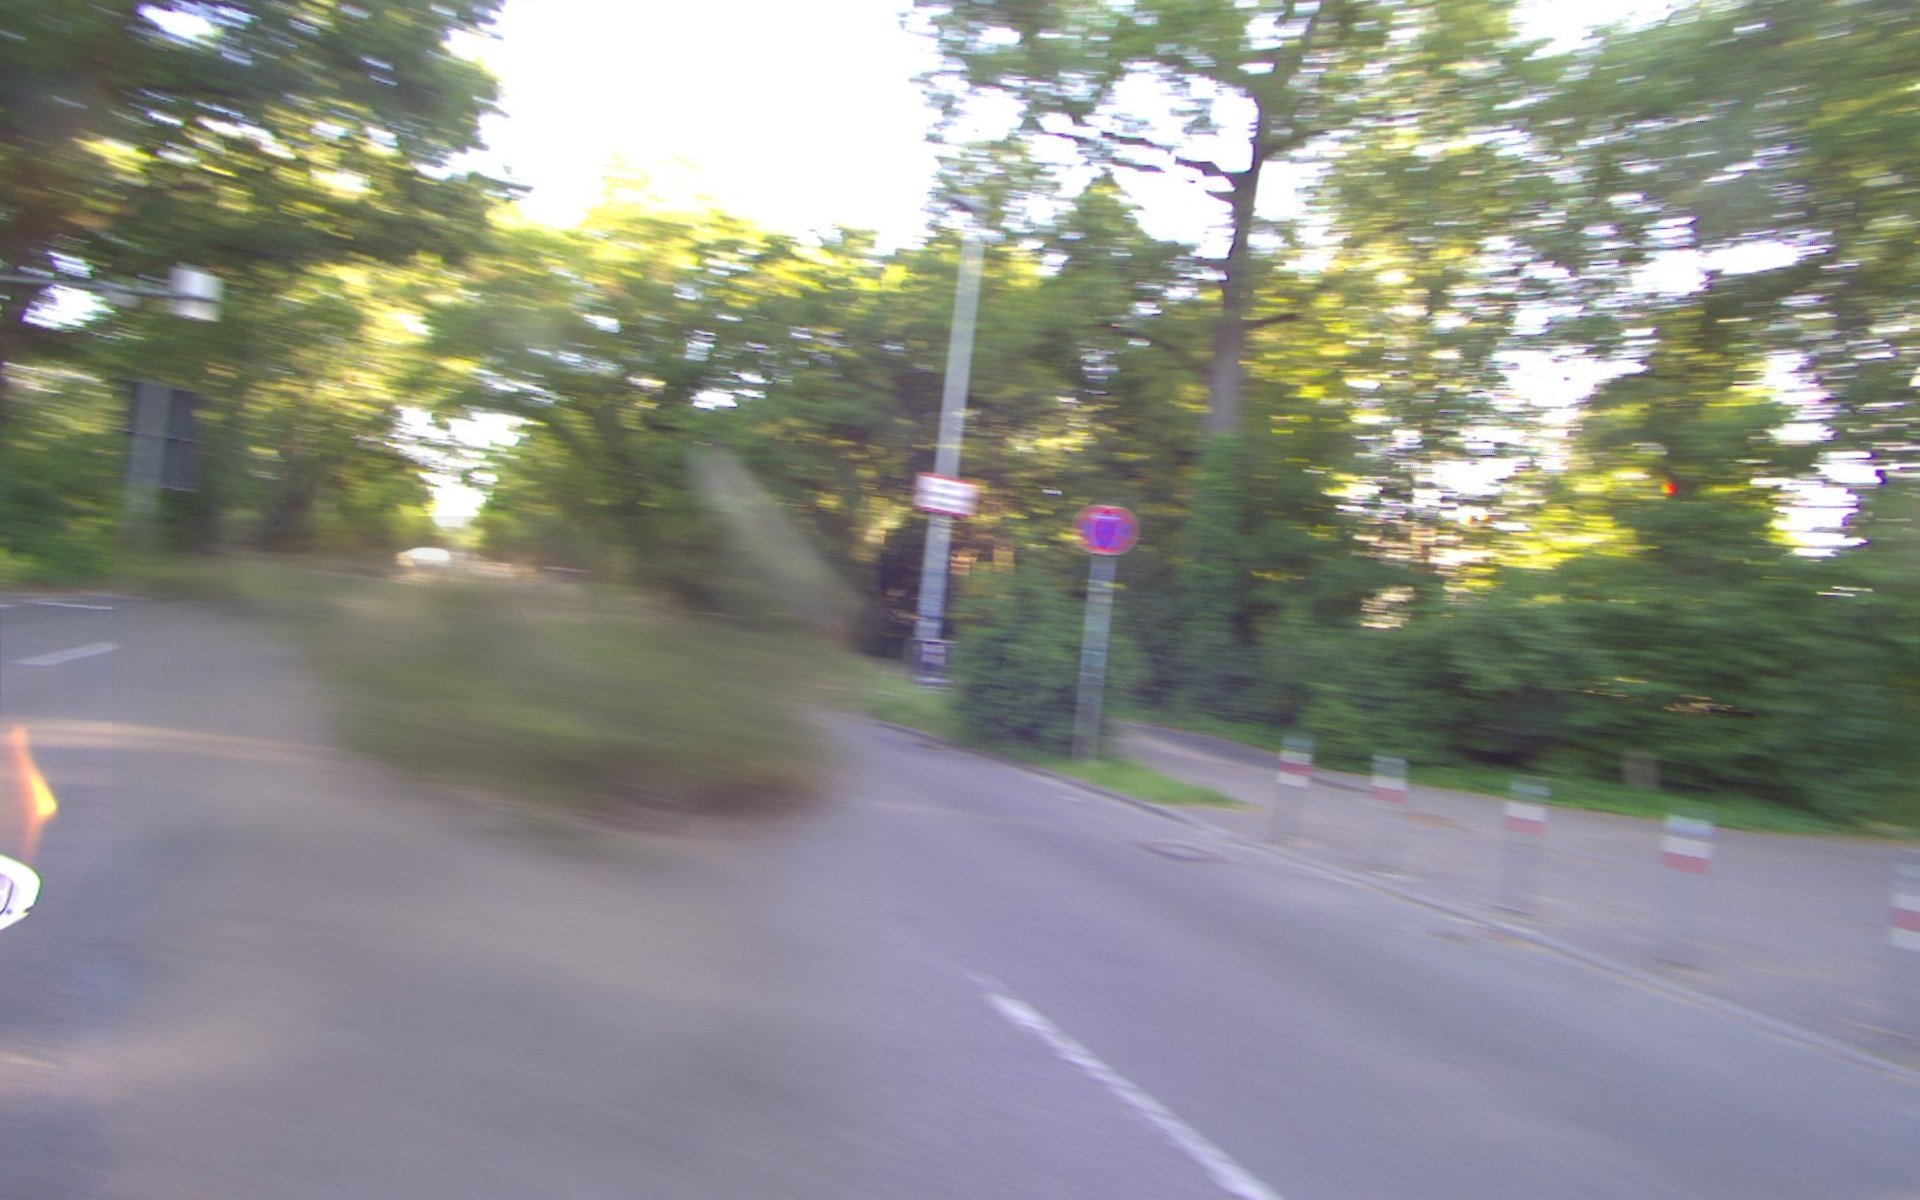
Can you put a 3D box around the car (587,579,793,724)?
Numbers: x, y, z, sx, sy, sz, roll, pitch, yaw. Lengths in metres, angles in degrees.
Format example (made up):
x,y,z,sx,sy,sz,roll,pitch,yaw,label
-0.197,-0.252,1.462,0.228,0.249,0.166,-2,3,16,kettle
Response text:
x,y,z,sx,sy,sz,roll,pitch,yaw,label
-4.322,0.689,15.548,1.974,1.624,4.334,11,-3,-27,car

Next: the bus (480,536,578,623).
x,y,z,sx,sy,sz,roll,pitch,yaw,label
-20.679,-1.017,47.714,2.990,3.120,12.189,11,-3,-27,bus

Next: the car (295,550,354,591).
x,y,z,sx,sy,sz,roll,pitch,yaw,label
-28.845,-1.346,45.769,1.790,1.599,4.291,5,-1,-27,car
